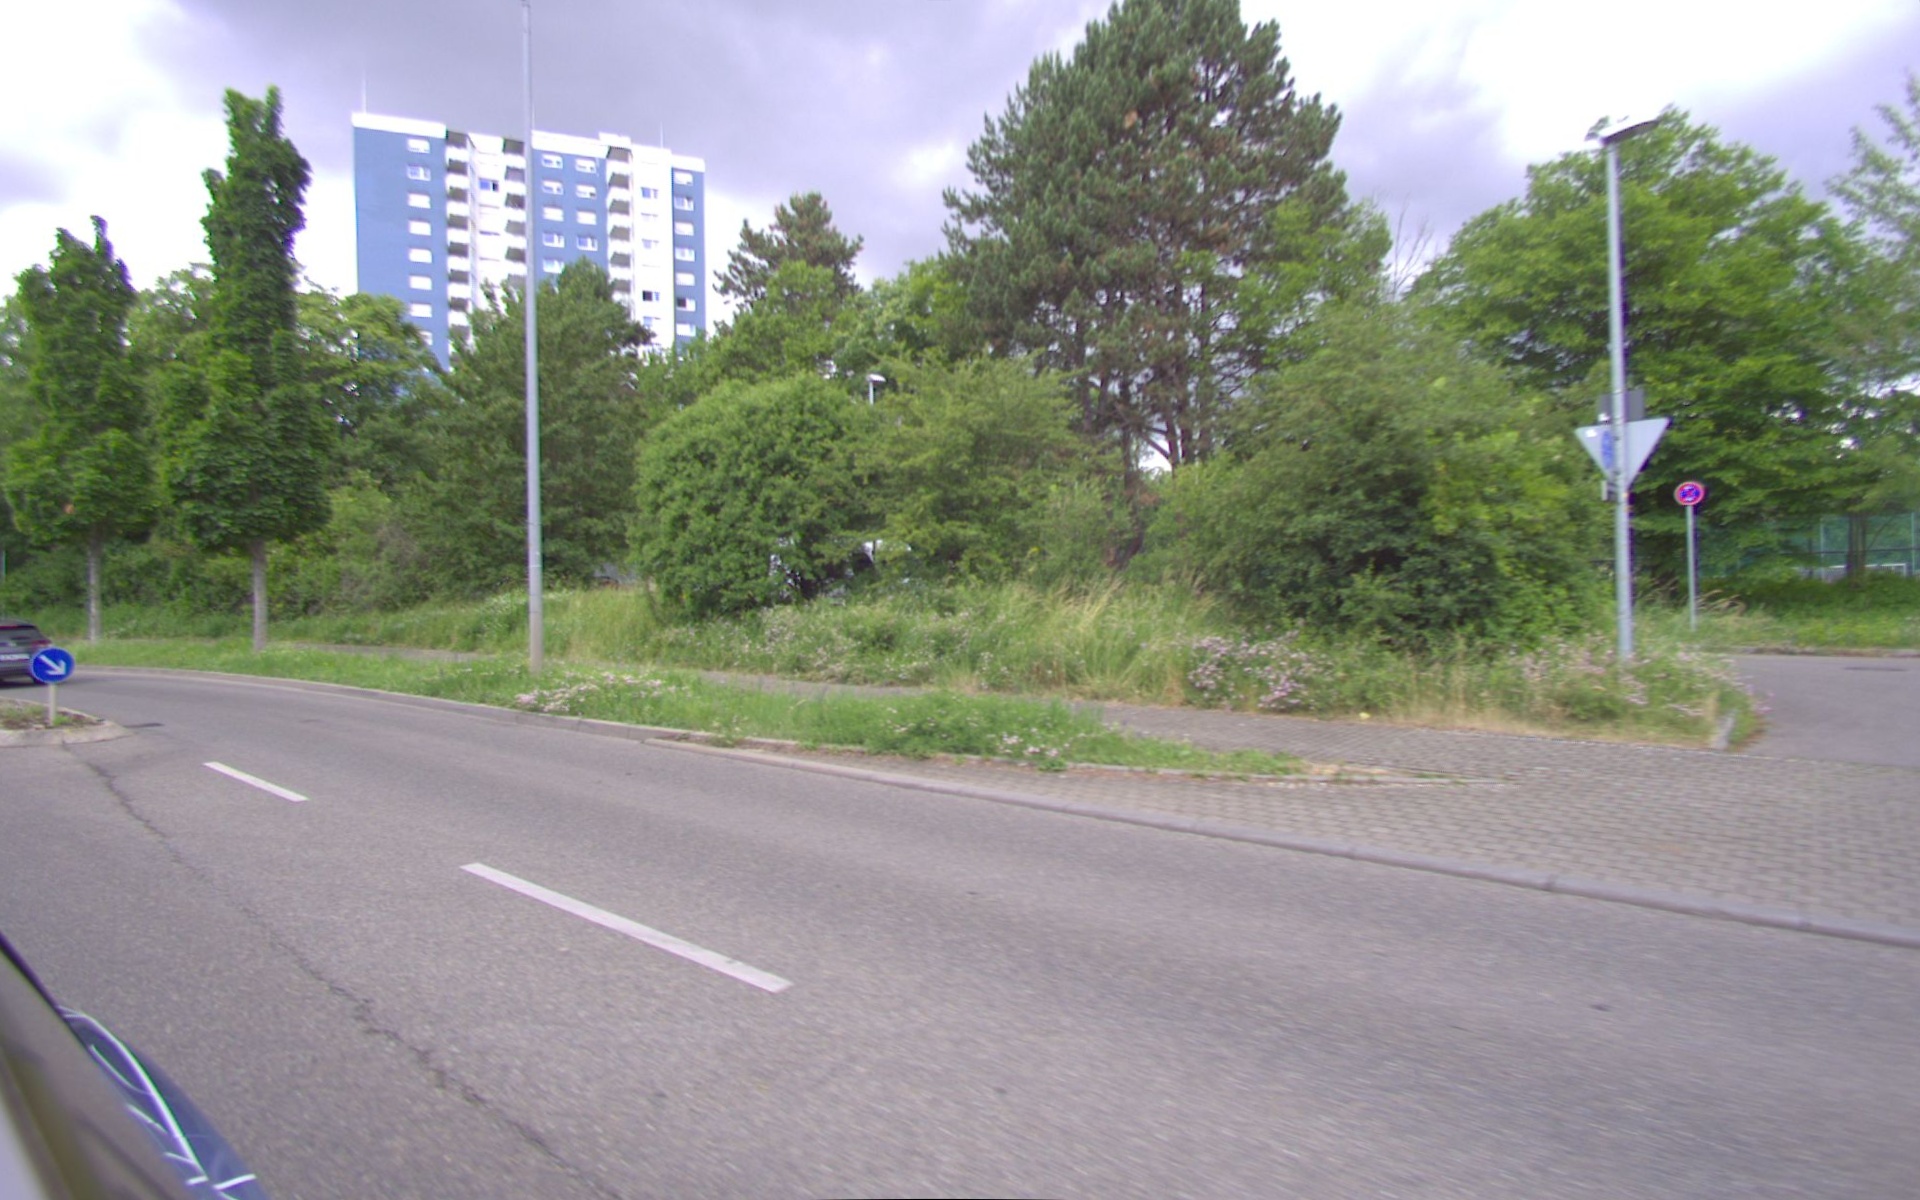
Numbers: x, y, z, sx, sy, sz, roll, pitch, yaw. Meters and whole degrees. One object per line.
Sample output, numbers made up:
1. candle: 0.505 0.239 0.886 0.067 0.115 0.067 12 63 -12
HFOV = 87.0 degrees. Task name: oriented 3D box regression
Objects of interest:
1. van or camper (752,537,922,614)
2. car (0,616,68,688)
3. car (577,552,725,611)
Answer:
1. van or camper: -3.421 -0.600 27.676 4.625 1.891 1.974 -2 -1 40
2. car: -21.304 1.098 21.795 4.411 1.449 1.978 -1 -1 32
3. car: -10.289 -0.565 33.464 5.319 1.738 2.117 -2 0 40
